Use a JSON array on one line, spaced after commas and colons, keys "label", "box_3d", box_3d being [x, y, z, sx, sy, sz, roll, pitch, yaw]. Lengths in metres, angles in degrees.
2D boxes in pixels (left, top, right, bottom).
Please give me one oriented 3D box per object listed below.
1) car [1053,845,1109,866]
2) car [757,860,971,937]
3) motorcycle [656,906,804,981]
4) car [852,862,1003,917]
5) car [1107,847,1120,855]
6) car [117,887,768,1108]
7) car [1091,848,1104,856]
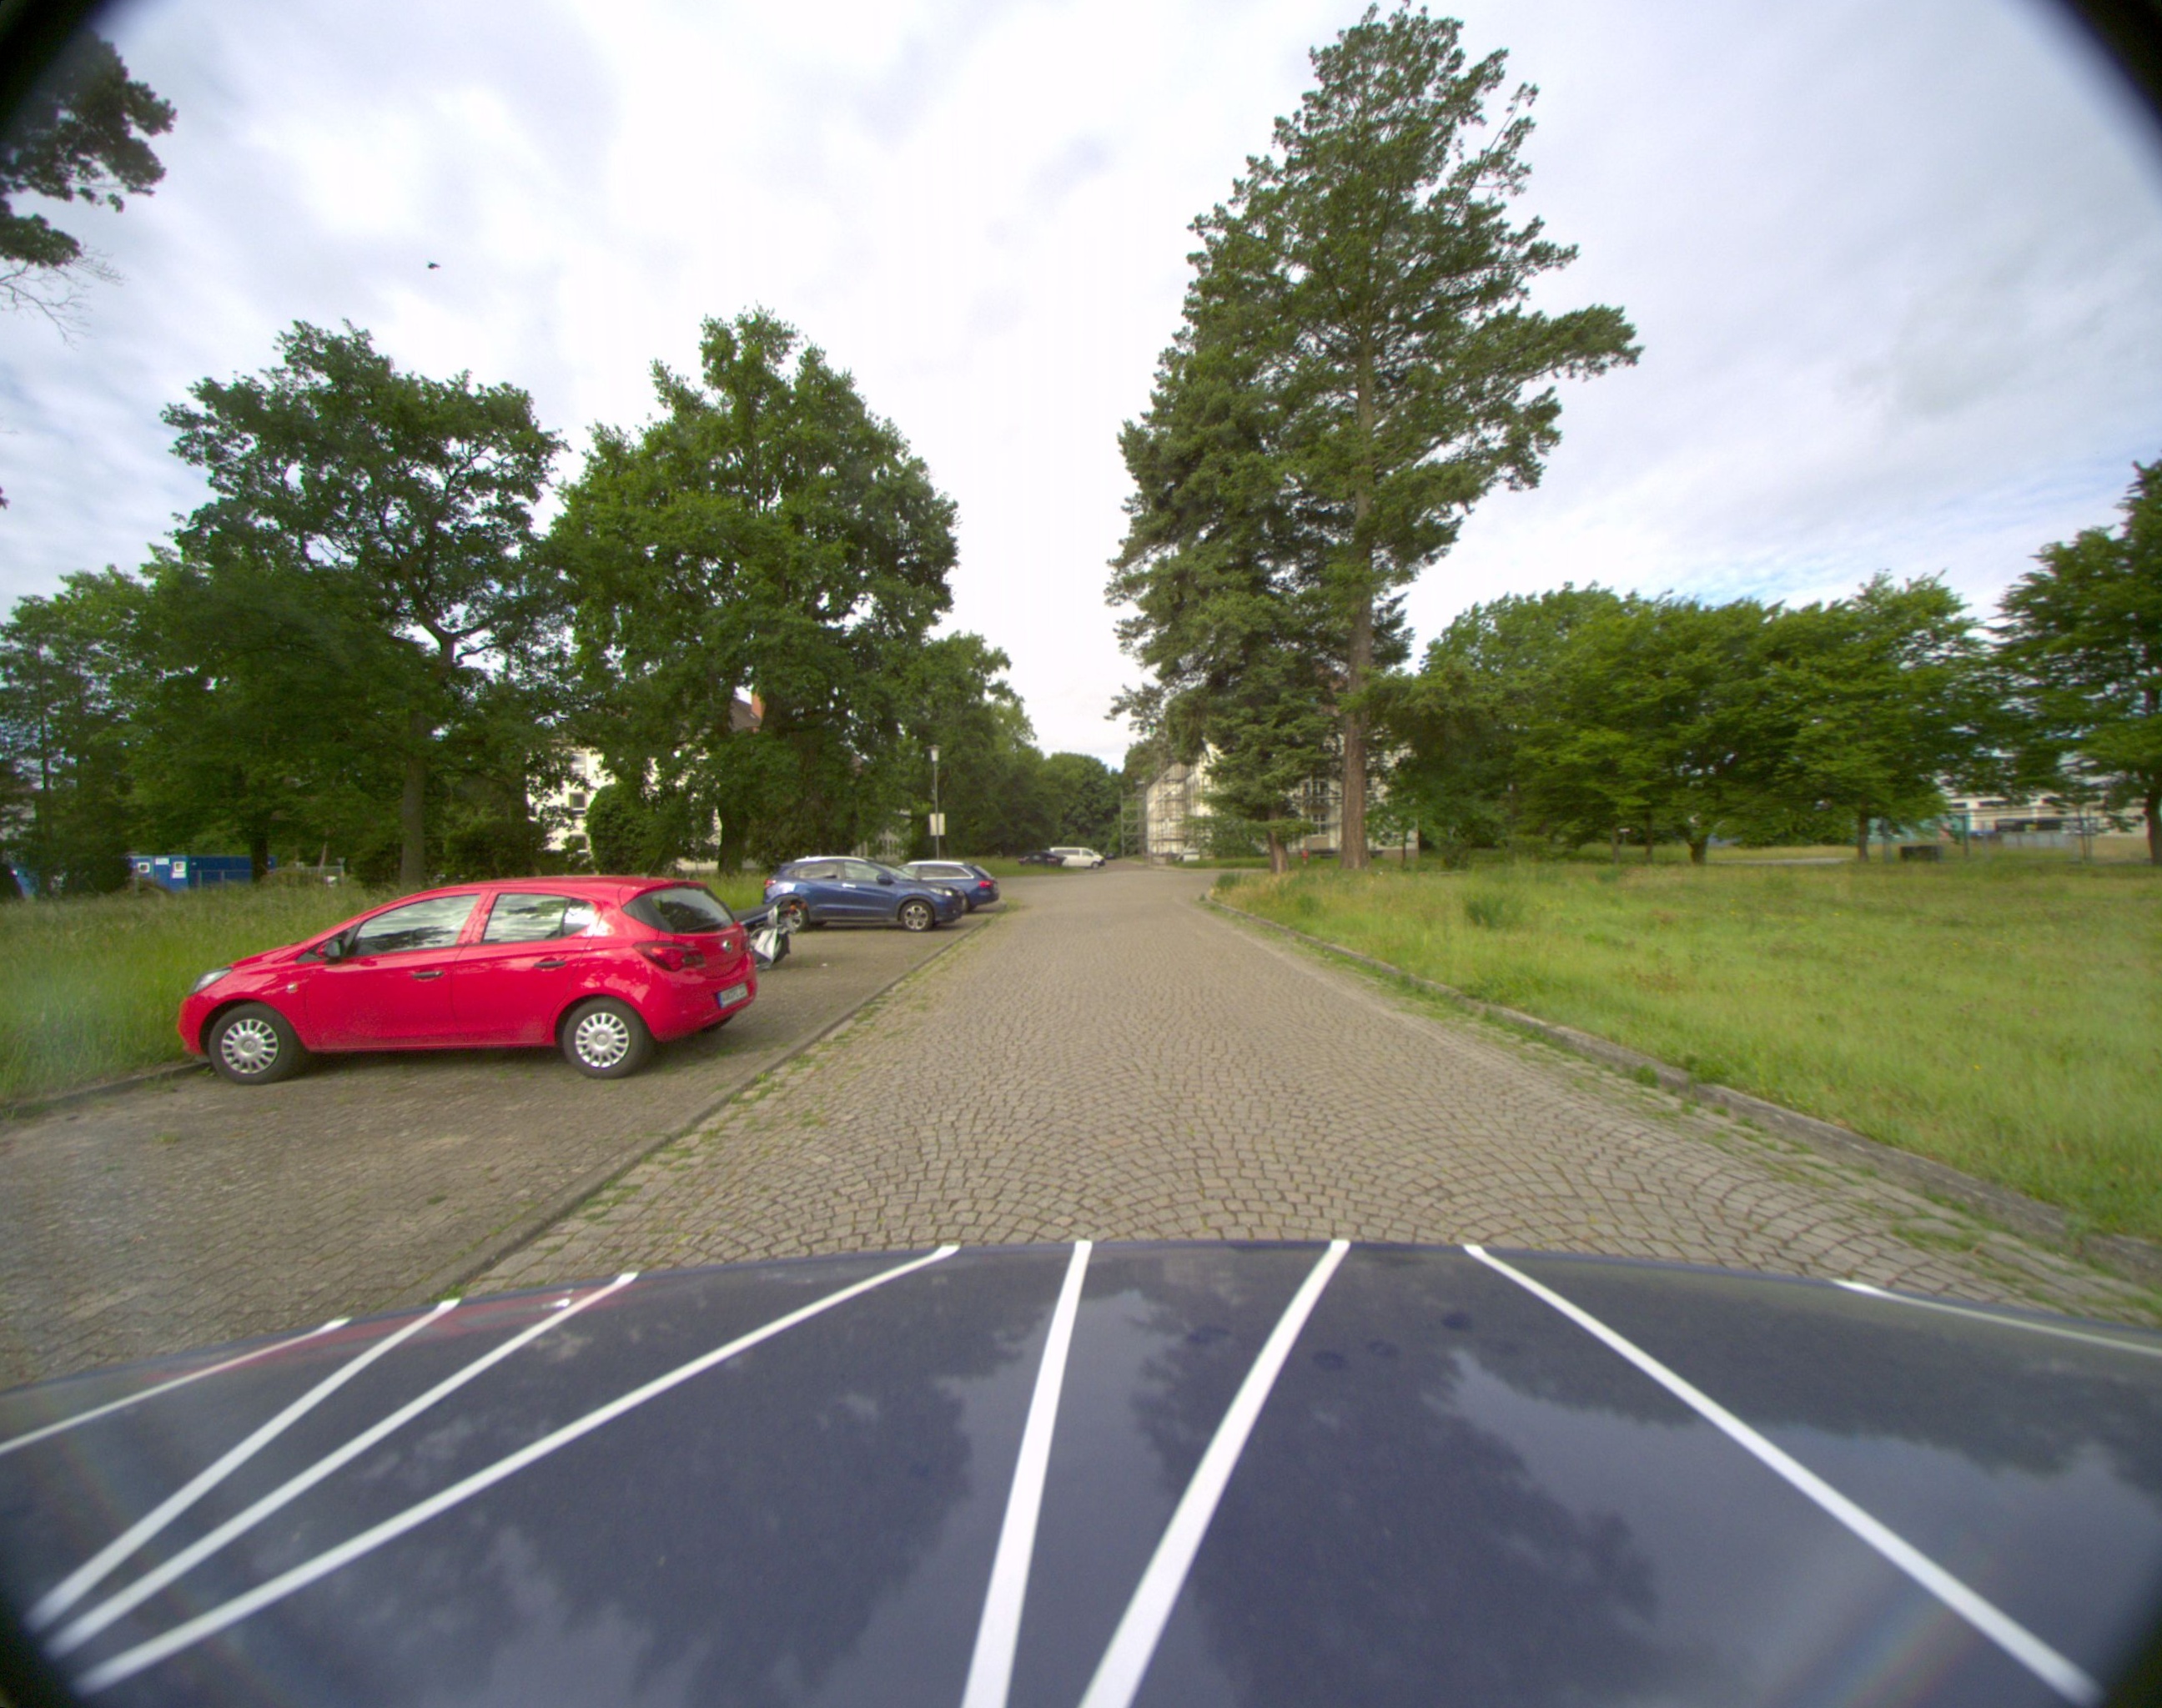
[{"label": "car", "box_3d": [-0.016, 0.133, 69.825, 5.141, 1.860, 1.723, 0, 1, -1]}, {"label": "car", "box_3d": [-4.573, 0.923, 16.405, 4.150, 1.529, 1.582, 0, 1, -1]}, {"label": "motorcycle", "box_3d": [-4.858, 1.229, 10.601, 1.745, 0.951, 0.614, 0, 1, -5]}, {"label": "car", "box_3d": [-4.175, 0.947, 21.063, 3.878, 1.417, 1.582, 0, 1, -1]}, {"label": "car", "box_3d": [5.785, -0.577, 136.731, 1.870, 1.408, 4.694, 0, 1, -4]}, {"label": "car", "box_3d": [-4.826, 1.048, 6.166, 3.894, 1.451, 1.582, 0, 1, -1]}, {"label": "car", "box_3d": [2.895, -0.447, 136.211, 1.870, 1.408, 4.694, 0, 1, -4]}]
